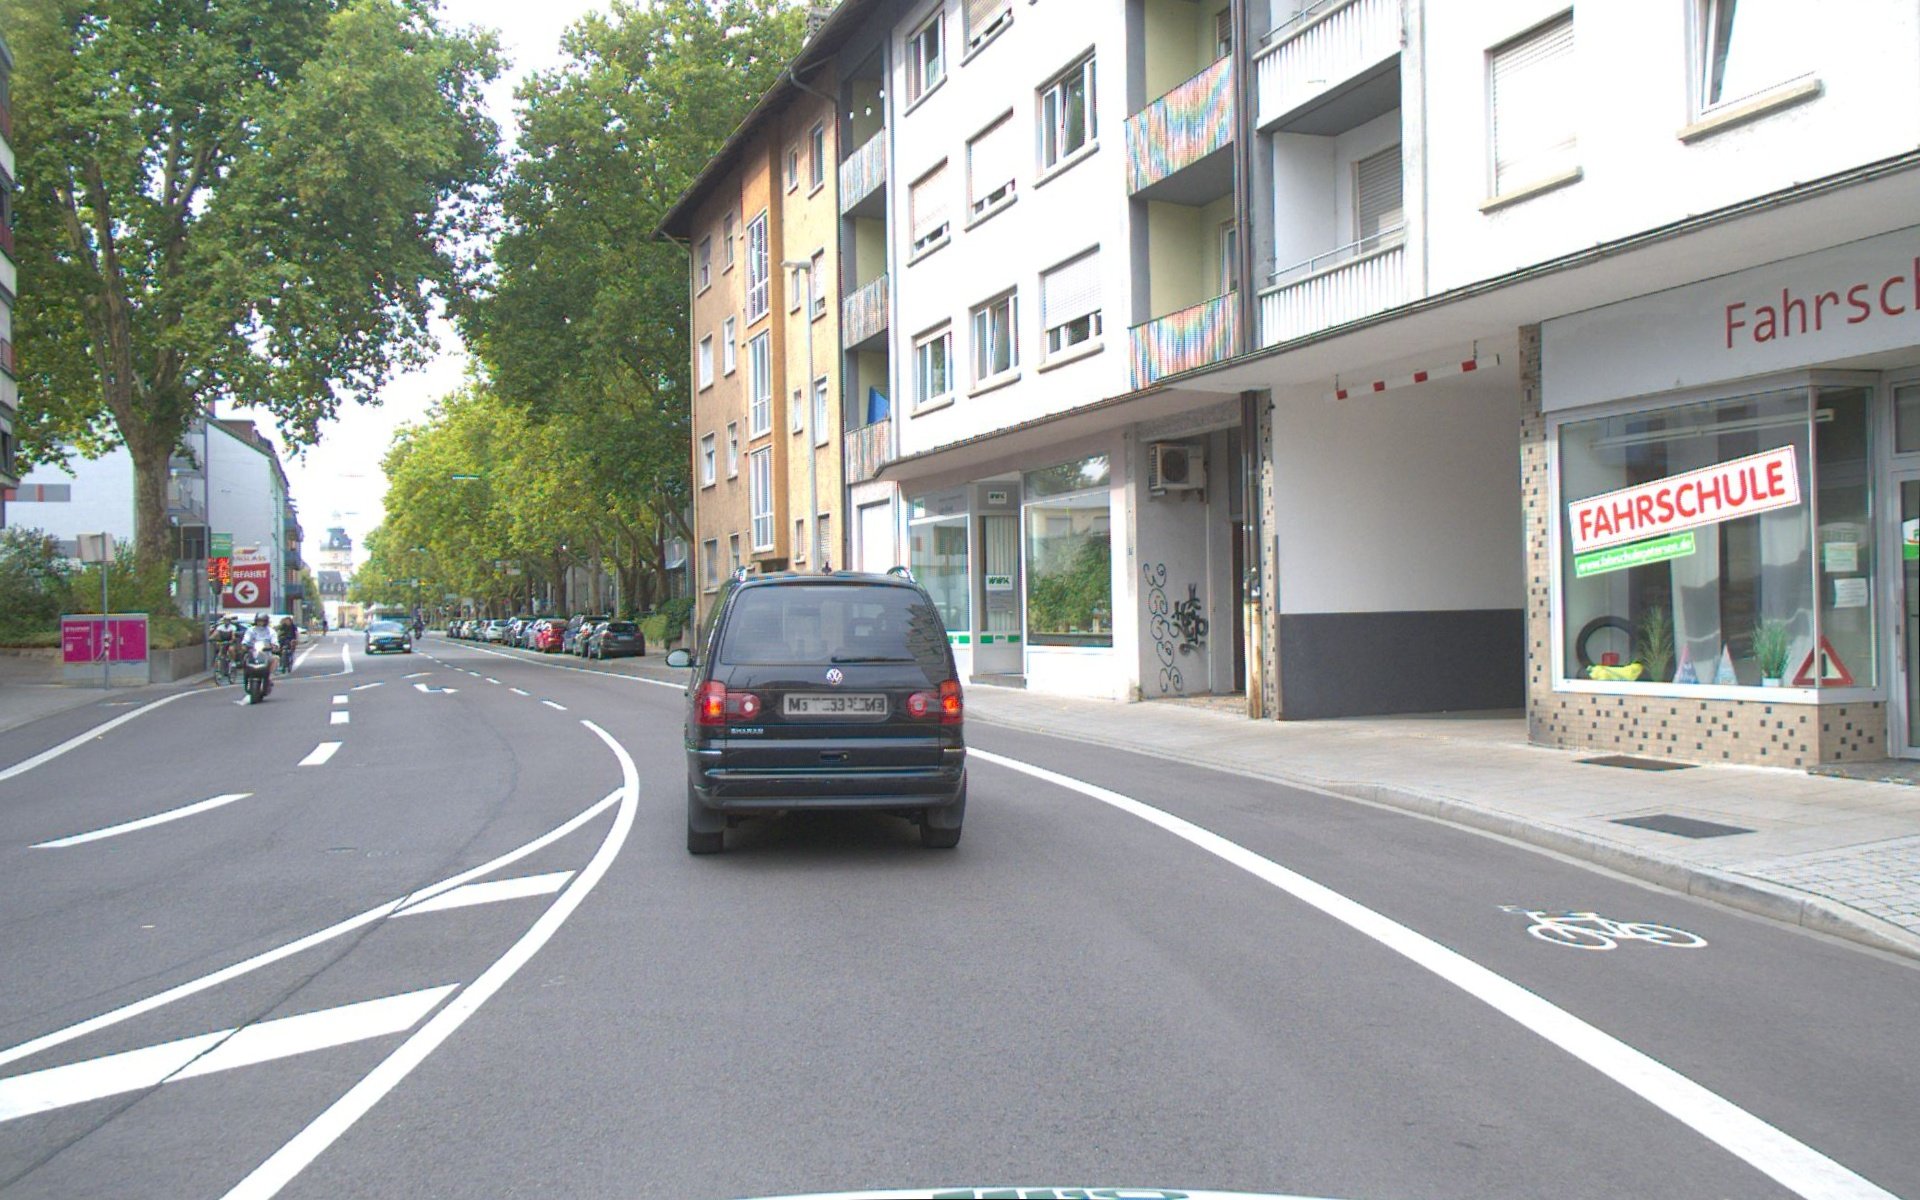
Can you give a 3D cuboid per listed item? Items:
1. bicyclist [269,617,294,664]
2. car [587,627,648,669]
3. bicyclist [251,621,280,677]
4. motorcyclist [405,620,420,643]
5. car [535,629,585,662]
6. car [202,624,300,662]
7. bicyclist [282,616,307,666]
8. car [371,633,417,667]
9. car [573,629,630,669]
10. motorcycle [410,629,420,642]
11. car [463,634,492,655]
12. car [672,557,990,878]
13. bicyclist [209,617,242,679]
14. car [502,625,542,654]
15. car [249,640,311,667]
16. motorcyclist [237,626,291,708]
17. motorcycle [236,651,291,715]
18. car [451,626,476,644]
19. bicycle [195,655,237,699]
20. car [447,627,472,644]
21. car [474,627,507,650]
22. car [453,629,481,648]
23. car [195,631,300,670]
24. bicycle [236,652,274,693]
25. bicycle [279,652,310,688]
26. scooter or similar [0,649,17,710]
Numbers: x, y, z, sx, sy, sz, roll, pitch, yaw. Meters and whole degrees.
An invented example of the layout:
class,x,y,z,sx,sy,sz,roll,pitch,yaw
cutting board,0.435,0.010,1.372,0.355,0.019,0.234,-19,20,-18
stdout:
class,x,y,z,sx,sy,sz,roll,pitch,yaw
bicyclist,-22.779,1.338,55.516,0.646,1.552,1.071,0,0,-16
car,-12.883,1.765,62.033,1.634,1.447,3.842,-2,0,-21
bicyclist,-19.704,1.390,46.949,0.646,1.552,0.837,0,0,-17
motorcyclist,-40.639,2.320,122.769,0.939,1.689,1.247,-1,-1,-22
car,-18.398,2.094,75.916,1.652,1.418,4.431,-1,-1,-22
car,-36.390,2.207,84.996,4.460,1.911,2.034,1,-1,-20
bicyclist,-20.927,1.293,52.046,0.646,1.552,0.852,0,0,-17
car,-25.388,2.232,74.134,1.784,1.432,4.579,-1,-1,-21
car,-14.442,1.948,66.556,1.634,1.447,3.922,-2,0,-21
motorcycle,-40.428,2.632,122.707,0.616,0.946,2.388,-1,-1,-20
car,-35.638,3.286,122.152,1.620,1.438,3.389,-1,-1,-24
car,-1.041,0.659,11.294,1.780,1.797,3.728,0,0,-11
bicyclist,-19.056,1.237,42.914,0.646,1.552,0.997,0,0,-16
car,-23.975,2.178,90.480,1.607,1.496,4.289,-1,-1,-22
car,-39.618,3.098,96.386,3.297,1.523,1.585,1,-2,-23
motorcyclist,-13.130,1.254,31.205,0.784,1.486,0.861,-3,-1,-18
motorcycle,-13.135,1.546,31.229,0.710,1.114,2.026,-4,0,-17
car,-40.915,2.880,136.365,1.652,1.418,3.853,-1,-1,-22
bicycle,-19.272,1.984,42.869,0.725,1.024,1.900,0,0,-16
car,-42.750,3.019,141.240,1.652,1.418,3.853,-1,-1,-22
car,-30.598,2.515,107.778,1.652,1.418,4.431,-1,-1,-22
car,-37.837,2.947,126.927,1.620,1.419,3.485,1,-2,-24
car,-31.945,2.251,74.324,4.194,1.634,1.956,0,0,-21
bicycle,-19.840,2.028,46.568,0.725,1.024,2.242,0,0,-16
bicycle,-20.797,2.175,51.700,0.726,1.024,1.966,0,0,-17
scooter or similar,-20.592,1.697,35.313,1.152,1.287,0.286,-2,-1,33
